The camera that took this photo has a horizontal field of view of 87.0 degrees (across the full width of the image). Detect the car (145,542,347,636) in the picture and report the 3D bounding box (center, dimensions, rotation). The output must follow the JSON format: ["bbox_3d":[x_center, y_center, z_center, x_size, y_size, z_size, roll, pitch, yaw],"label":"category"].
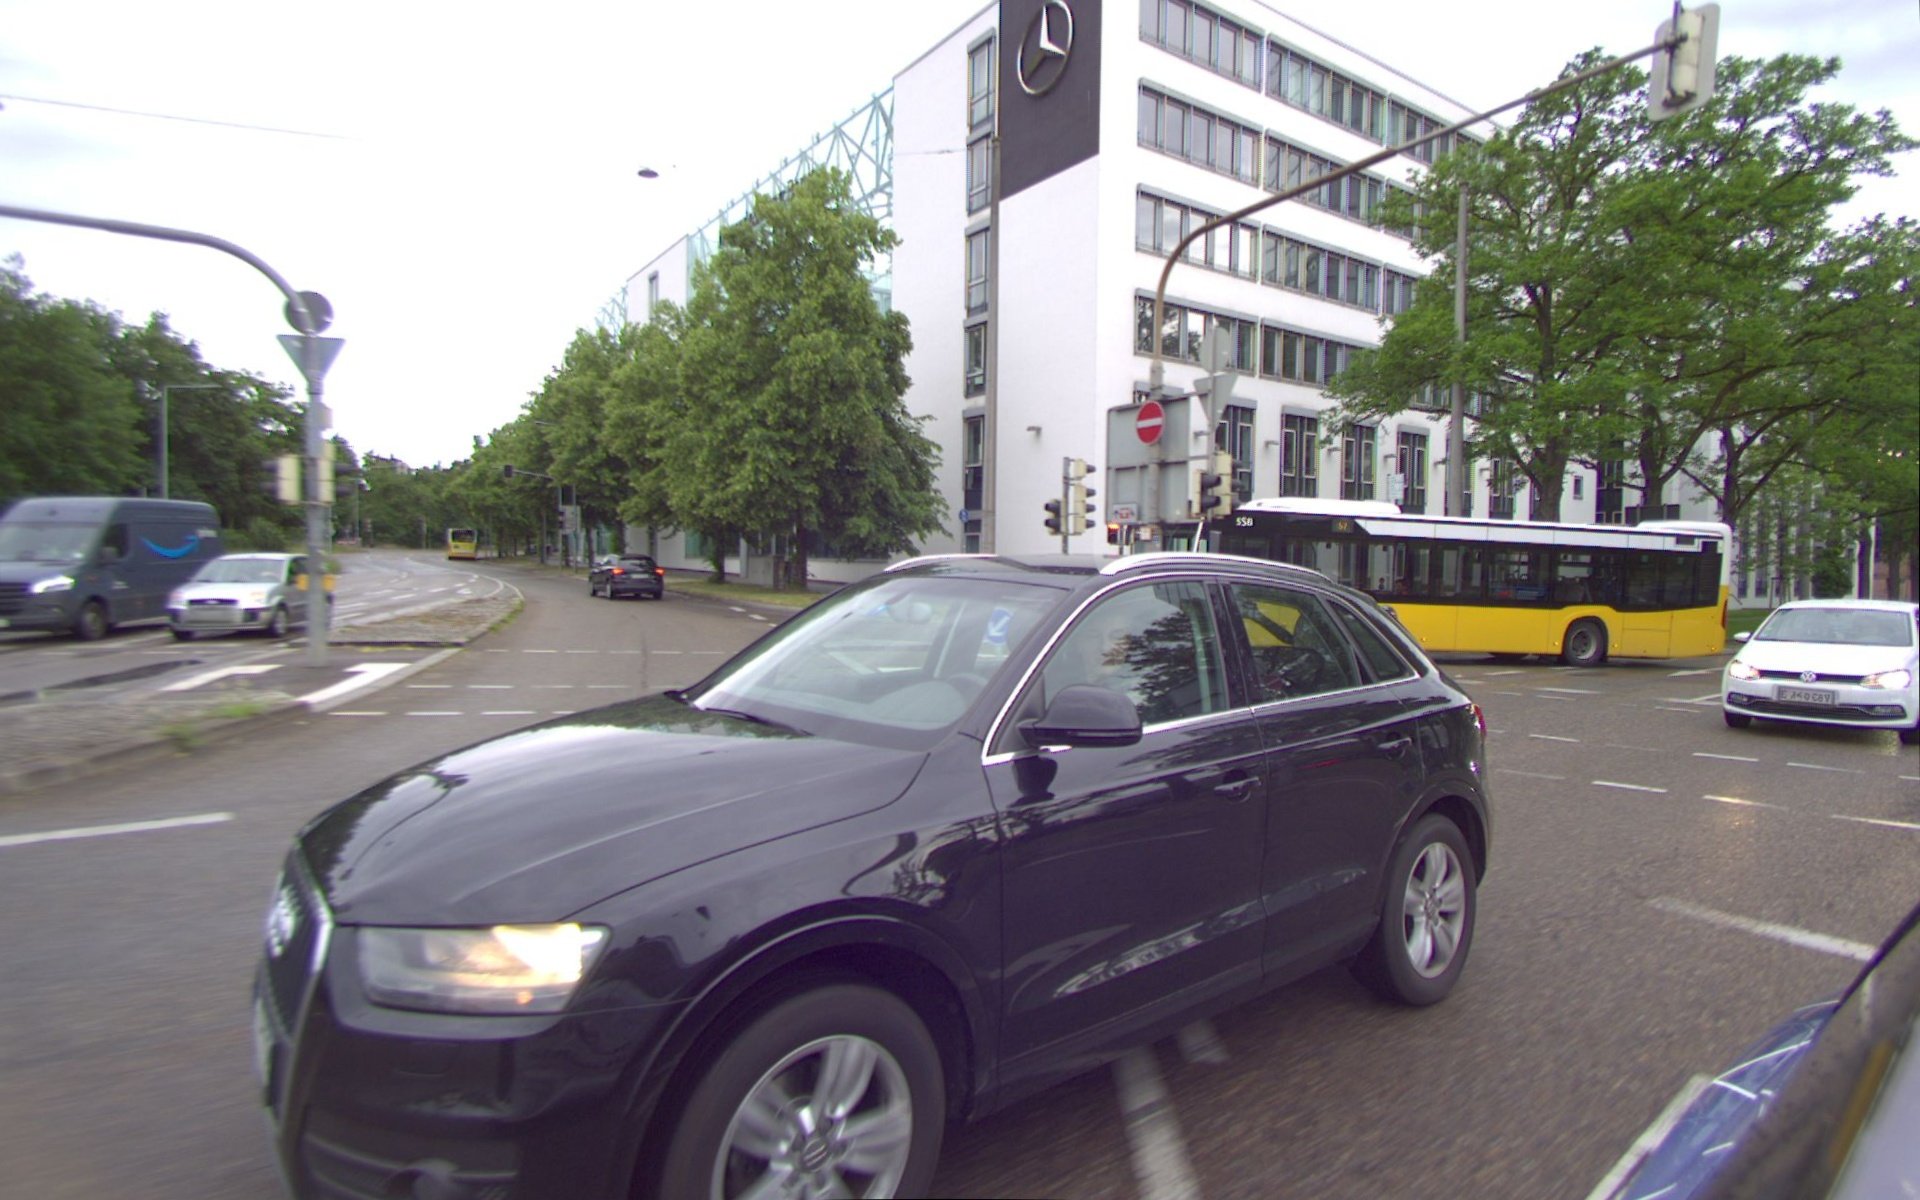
[{"bbox_3d":[-13.437,-0.251,19.354,1.832,1.588,4.071,-1,2,-15],"label":"car"}]

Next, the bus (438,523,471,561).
[{"bbox_3d":[-50.312,-5.699,100.710,2.292,3.606,6.502,0,2,-32],"label":"bus"}]

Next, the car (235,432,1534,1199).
[{"bbox_3d":[0.083,0.542,3.425,4.039,1.615,1.889,0,1,-39],"label":"car"}]

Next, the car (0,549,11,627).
[{"bbox_3d":[-19.272,-0.184,17.923,1.693,1.538,4.391,0,2,-15],"label":"car"}]

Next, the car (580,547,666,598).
[{"bbox_3d":[-11.470,-0.993,34.278,1.835,1.515,4.156,-2,5,-32],"label":"car"}]

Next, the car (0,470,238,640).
[{"bbox_3d":[-16.523,-0.812,19.421,2.038,2.775,6.043,-1,2,-12],"label":"car"}]

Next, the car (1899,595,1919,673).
[{"bbox_3d":[19.245,0.594,19.007,4.256,1.371,1.877,-1,1,-40],"label":"car"}]

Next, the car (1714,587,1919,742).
[{"bbox_3d":[10.065,0.597,11.390,3.744,1.449,1.744,0,1,-40],"label":"car"}]

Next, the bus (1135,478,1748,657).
[{"bbox_3d":[9.759,-0.532,20.698,11.894,3.192,2.740,1,0,-10],"label":"bus"}]
